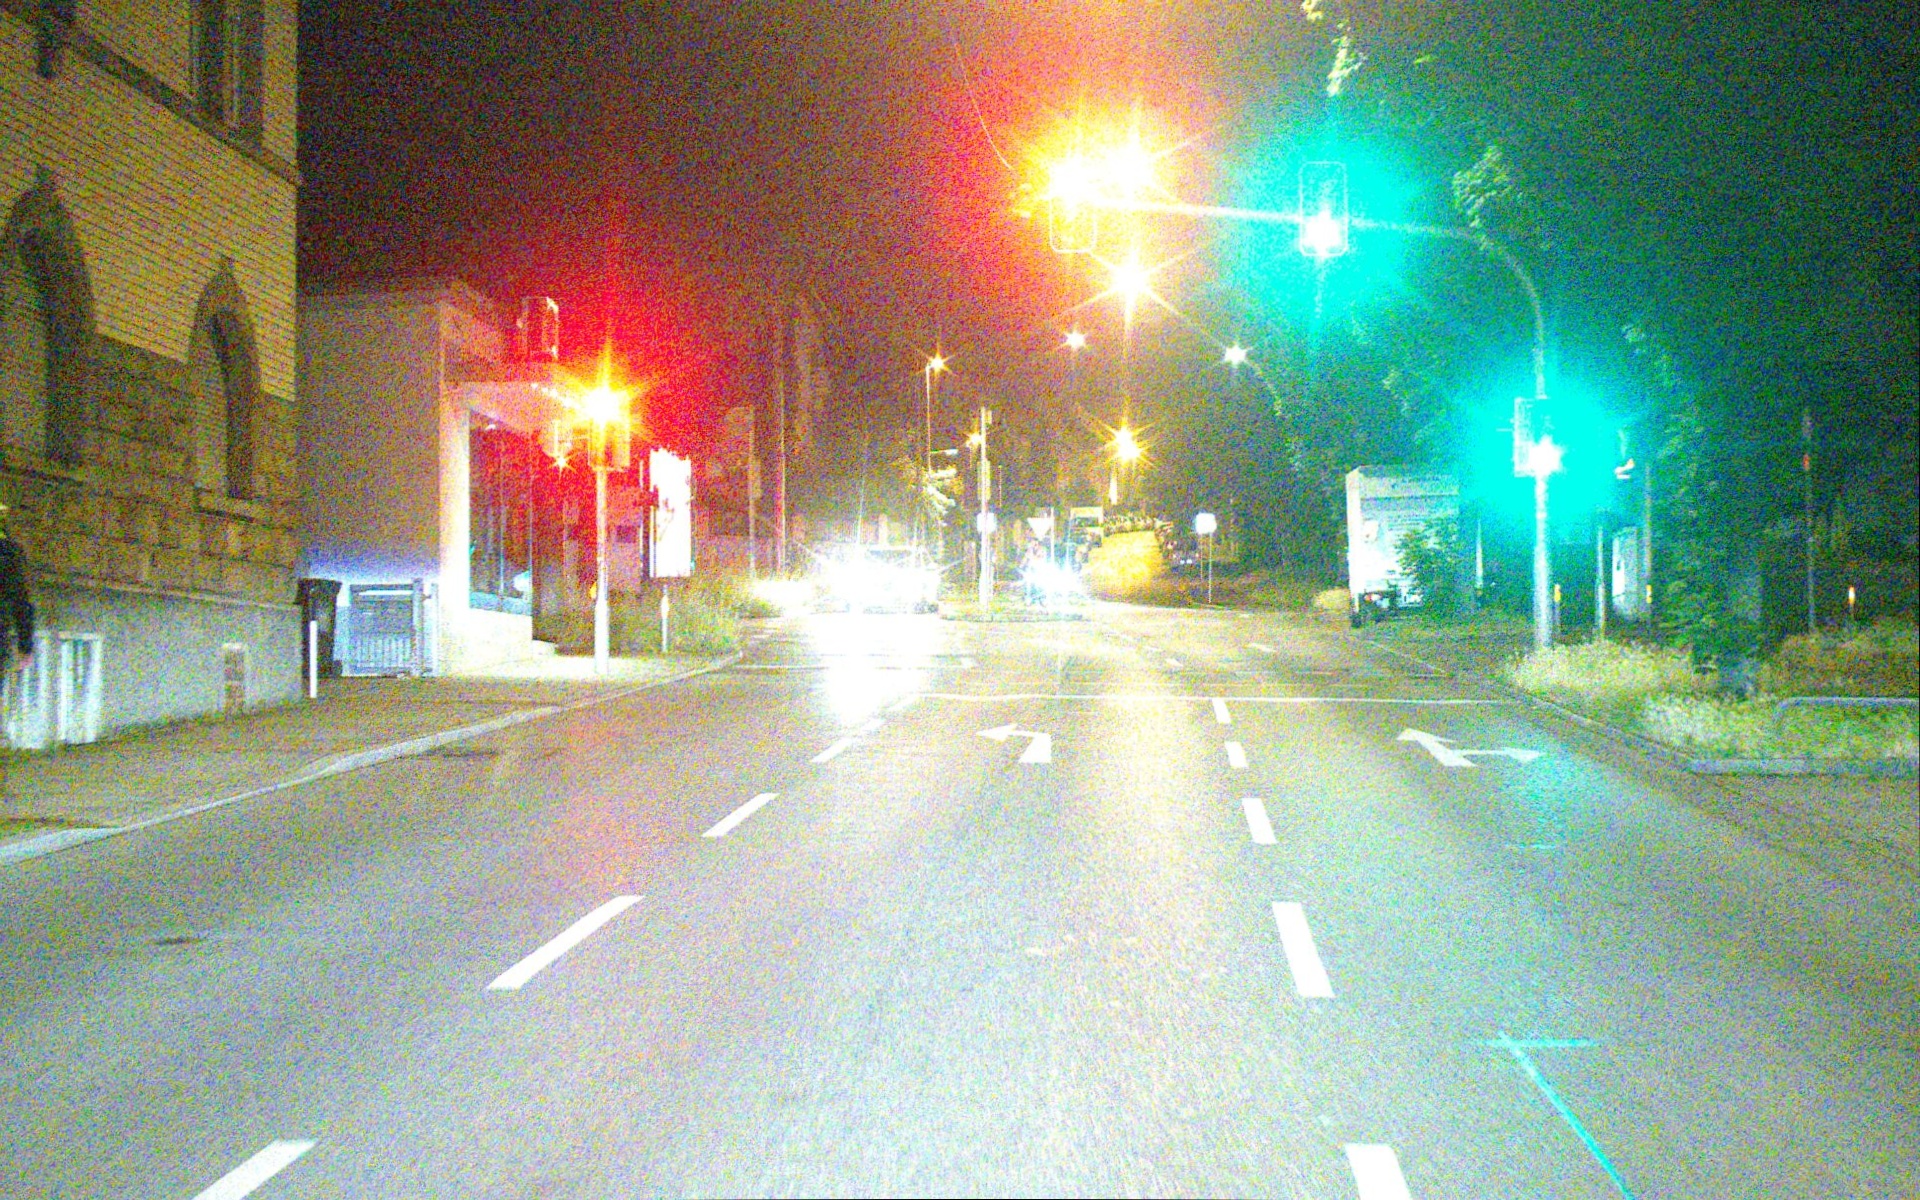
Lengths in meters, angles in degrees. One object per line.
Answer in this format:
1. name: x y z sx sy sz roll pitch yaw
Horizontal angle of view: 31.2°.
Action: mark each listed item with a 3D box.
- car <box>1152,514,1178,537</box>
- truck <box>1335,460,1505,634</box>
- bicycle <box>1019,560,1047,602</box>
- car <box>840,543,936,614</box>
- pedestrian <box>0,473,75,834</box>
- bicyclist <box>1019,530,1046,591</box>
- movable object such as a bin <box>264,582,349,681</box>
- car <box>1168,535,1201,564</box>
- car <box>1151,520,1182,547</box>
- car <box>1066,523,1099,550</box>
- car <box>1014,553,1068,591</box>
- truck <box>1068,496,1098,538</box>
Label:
1. car: 13.241 -4.823 221.816 1.634 1.447 3.484 0 1 3
2. truck: 8.607 -1.014 64.912 2.750 3.100 6.258 0 1 4
3. bicycle: 1.984 -0.521 93.548 0.696 1.145 1.950 0 1 3
4. car: -1.591 -0.503 77.391 1.857 1.529 4.027 0 1 3
5. pedestrian: -4.878 0.252 17.051 0.675 1.739 1.029 0 0 2
6. bicyclist: 1.976 -1.077 93.471 0.690 1.631 0.896 0 0 3
7. movable object such as a bin: -6.991 0.331 36.780 0.639 1.045 0.654 0 1 21
8. car: 11.333 -2.568 173.764 1.634 1.447 3.484 0 1 3
9. car: 11.381 -3.660 189.653 1.634 1.447 3.484 0 1 3
10. car: 6.810 -3.534 191.274 1.815 1.486 4.000 0 1 2
11. car: 3.037 -1.055 128.195 1.916 1.384 4.582 0 1 2
12. truck: 8.581 -5.792 240.259 2.086 2.838 5.831 0 1 2
